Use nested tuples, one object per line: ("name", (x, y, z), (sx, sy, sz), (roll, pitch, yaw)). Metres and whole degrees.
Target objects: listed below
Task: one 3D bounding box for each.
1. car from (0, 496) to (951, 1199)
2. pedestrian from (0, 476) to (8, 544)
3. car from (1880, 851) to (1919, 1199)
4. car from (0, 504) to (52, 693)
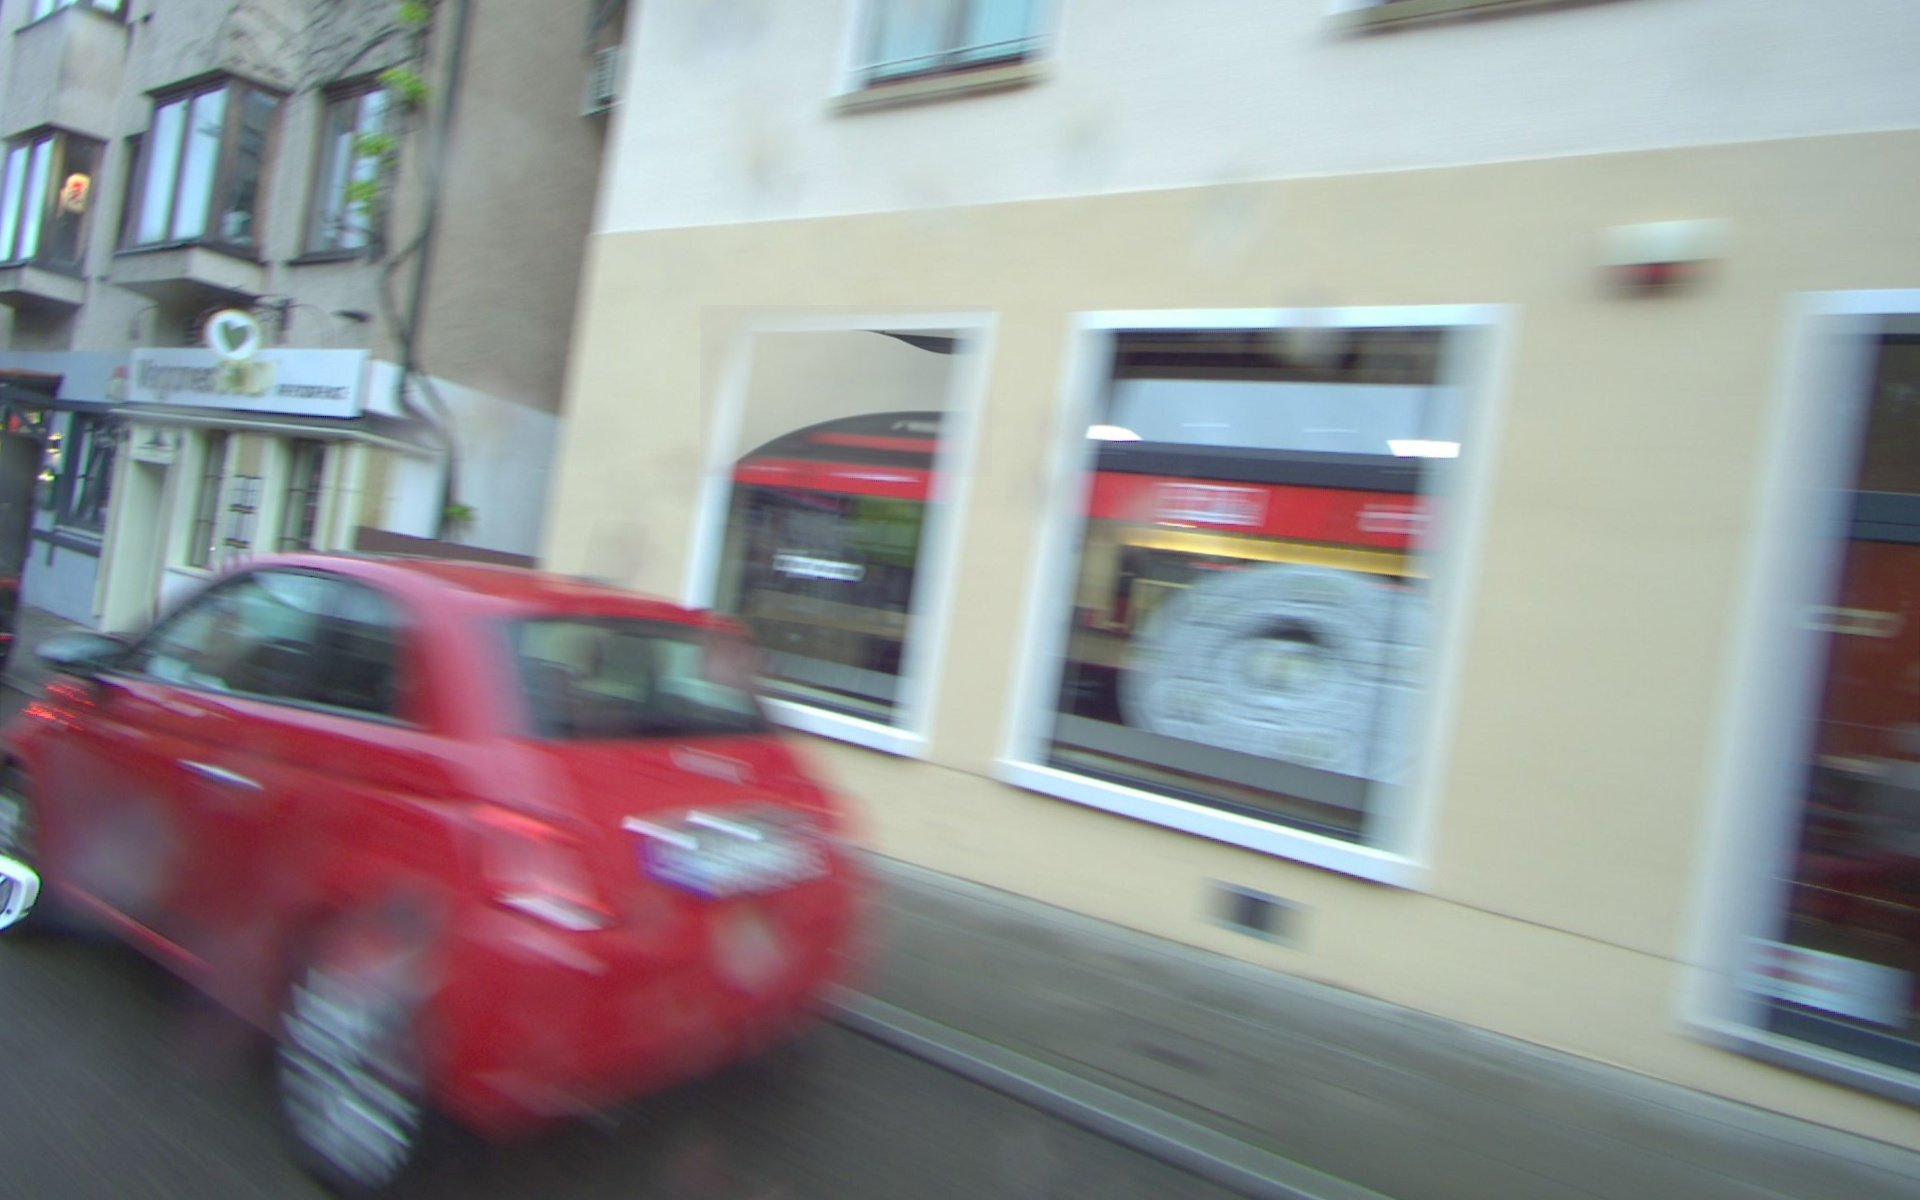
("car", (-1.955, 0.568, 3.583), (3.357, 1.479, 1.648), (6, -2, 32))
("pedestrian", (-13.037, -0.832, 13.145), (0.585, 1.701, 0.546), (7, 0, 24))
("car", (2.951, 1.129, 0.489), (3.388, 1.479, 1.719), (6, -2, 32))
("car", (-9.678, -0.275, 8.384), (4.174, 1.479, 1.910), (6, -2, 31))
